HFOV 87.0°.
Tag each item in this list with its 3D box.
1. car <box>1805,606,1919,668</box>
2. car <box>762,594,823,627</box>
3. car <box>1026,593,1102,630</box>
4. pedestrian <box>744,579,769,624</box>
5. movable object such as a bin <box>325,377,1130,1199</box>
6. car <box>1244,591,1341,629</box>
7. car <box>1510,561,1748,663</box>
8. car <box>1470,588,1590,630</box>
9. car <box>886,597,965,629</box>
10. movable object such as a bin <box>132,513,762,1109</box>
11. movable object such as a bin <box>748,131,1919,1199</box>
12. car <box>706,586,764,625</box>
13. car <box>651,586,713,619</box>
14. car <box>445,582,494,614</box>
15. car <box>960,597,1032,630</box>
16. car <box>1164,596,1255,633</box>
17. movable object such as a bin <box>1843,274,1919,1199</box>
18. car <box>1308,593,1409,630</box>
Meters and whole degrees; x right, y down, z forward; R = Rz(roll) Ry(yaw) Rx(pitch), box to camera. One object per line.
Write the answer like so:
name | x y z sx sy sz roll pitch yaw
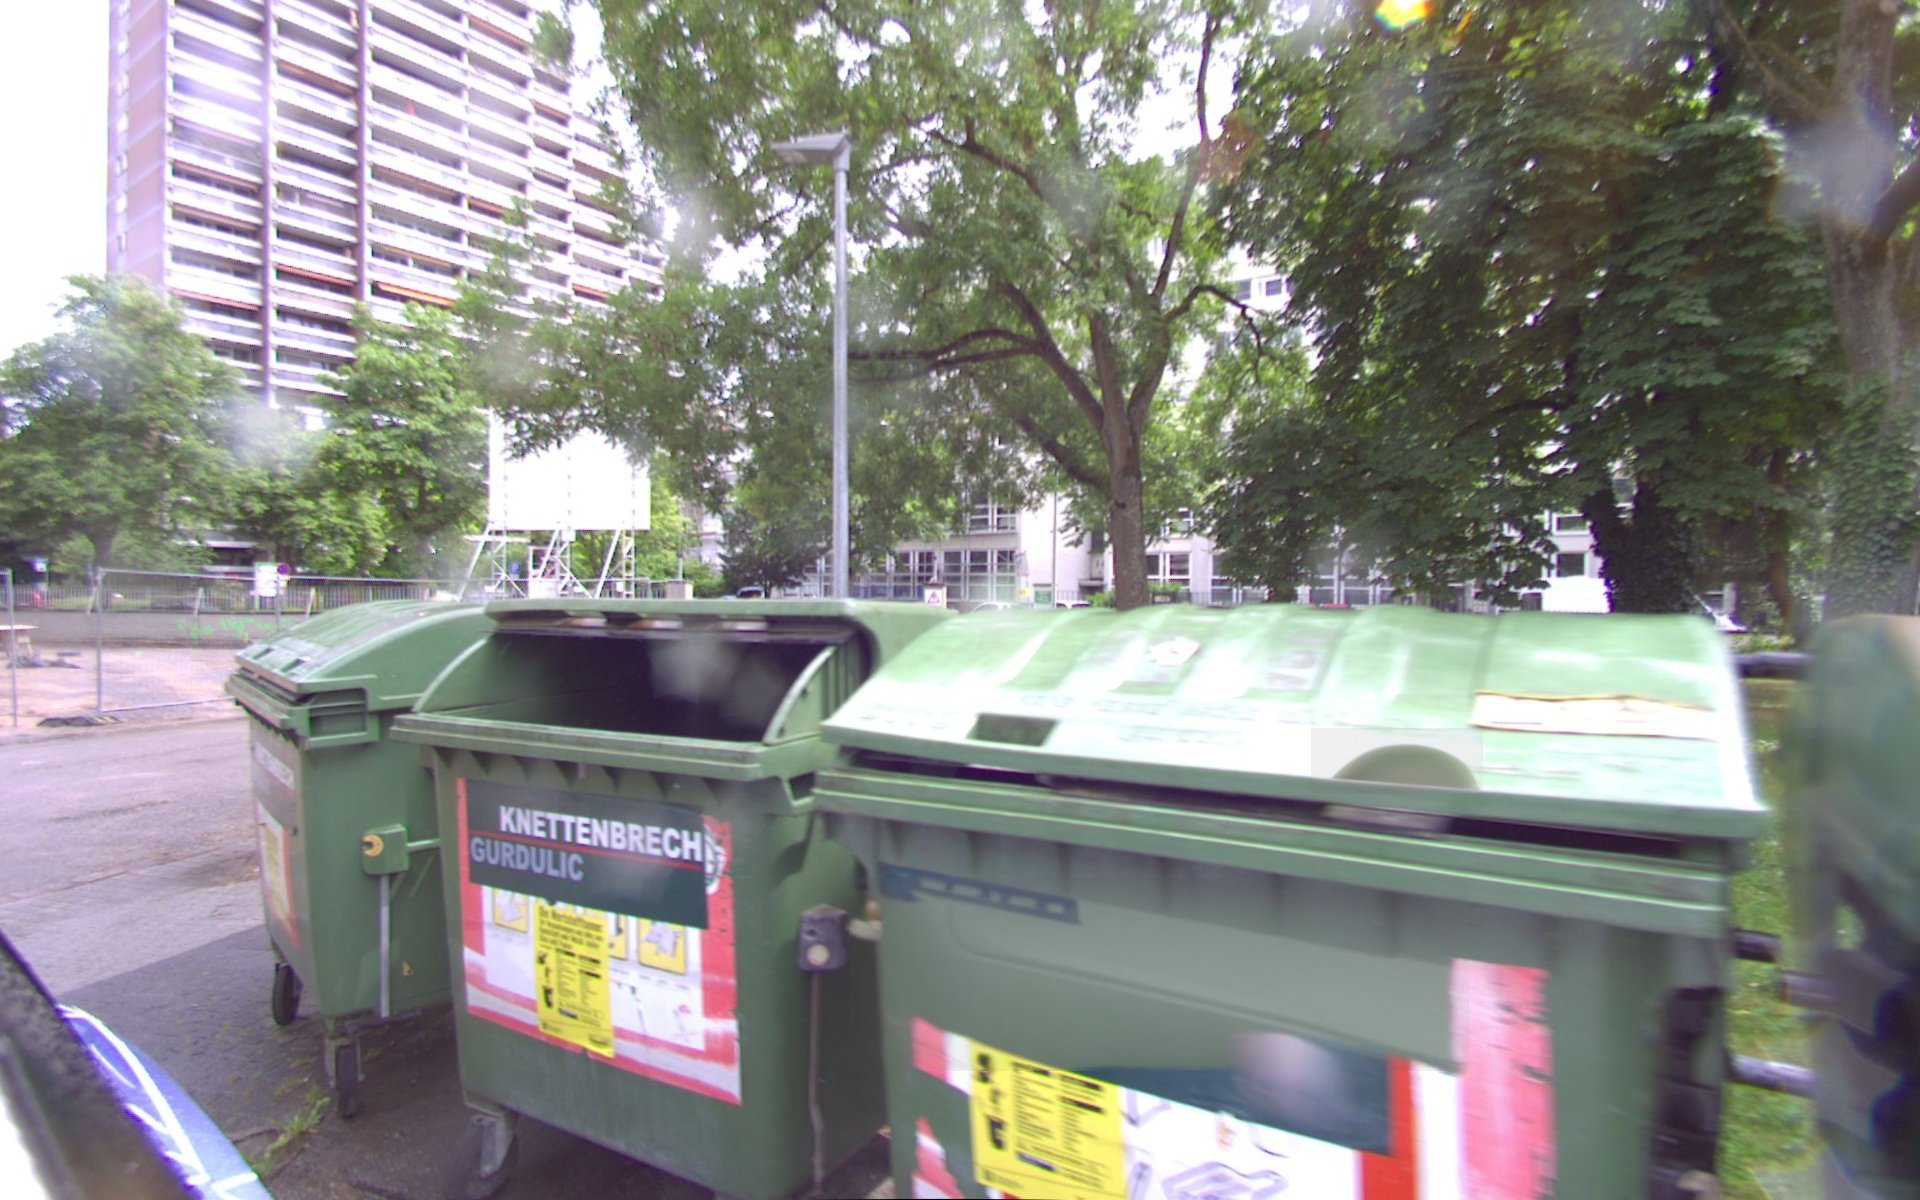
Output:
car | 25.416 0.998 26.887 4.096 1.533 1.907 1 0 9
car | -8.050 0.466 48.320 1.595 1.438 3.659 0 1 -32
car | 4.742 0.524 46.632 1.679 1.615 3.399 2 -1 -34
pedestrian | -9.412 0.071 46.879 0.851 2.029 0.927 0 0 13
movable object such as a bin | -0.545 0.373 2.571 1.462 1.481 1.347 0 2 37
car | 14.578 0.426 44.536 1.760 1.517 3.791 2 0 -33
car | 18.456 0.304 28.192 5.024 2.600 2.089 1 0 9
car | 24.330 0.350 43.290 1.763 1.663 4.089 2 0 -44
car | -1.673 0.579 47.919 1.695 1.425 4.008 2 -1 -38
movable object such as a bin | -1.760 0.505 3.537 1.558 1.481 1.396 0 2 37
movable object such as a bin | 0.624 0.368 1.707 1.350 1.481 1.347 0 2 37
car | -10.882 0.220 48.844 1.595 1.759 3.659 0 1 -32
car | -13.593 0.098 49.344 1.828 1.497 4.012 -2 2 -32
car | -25.105 -0.124 51.733 1.828 1.497 4.012 -2 2 -32
car | 1.624 0.591 46.729 1.626 1.456 3.399 2 -1 -34
car | 11.209 0.642 45.679 1.760 1.517 3.791 2 0 -33
movable object such as a bin | 1.722 0.364 0.851 1.363 1.481 1.347 0 2 37
car | 17.537 0.482 44.661 1.760 1.517 3.791 2 0 -33
